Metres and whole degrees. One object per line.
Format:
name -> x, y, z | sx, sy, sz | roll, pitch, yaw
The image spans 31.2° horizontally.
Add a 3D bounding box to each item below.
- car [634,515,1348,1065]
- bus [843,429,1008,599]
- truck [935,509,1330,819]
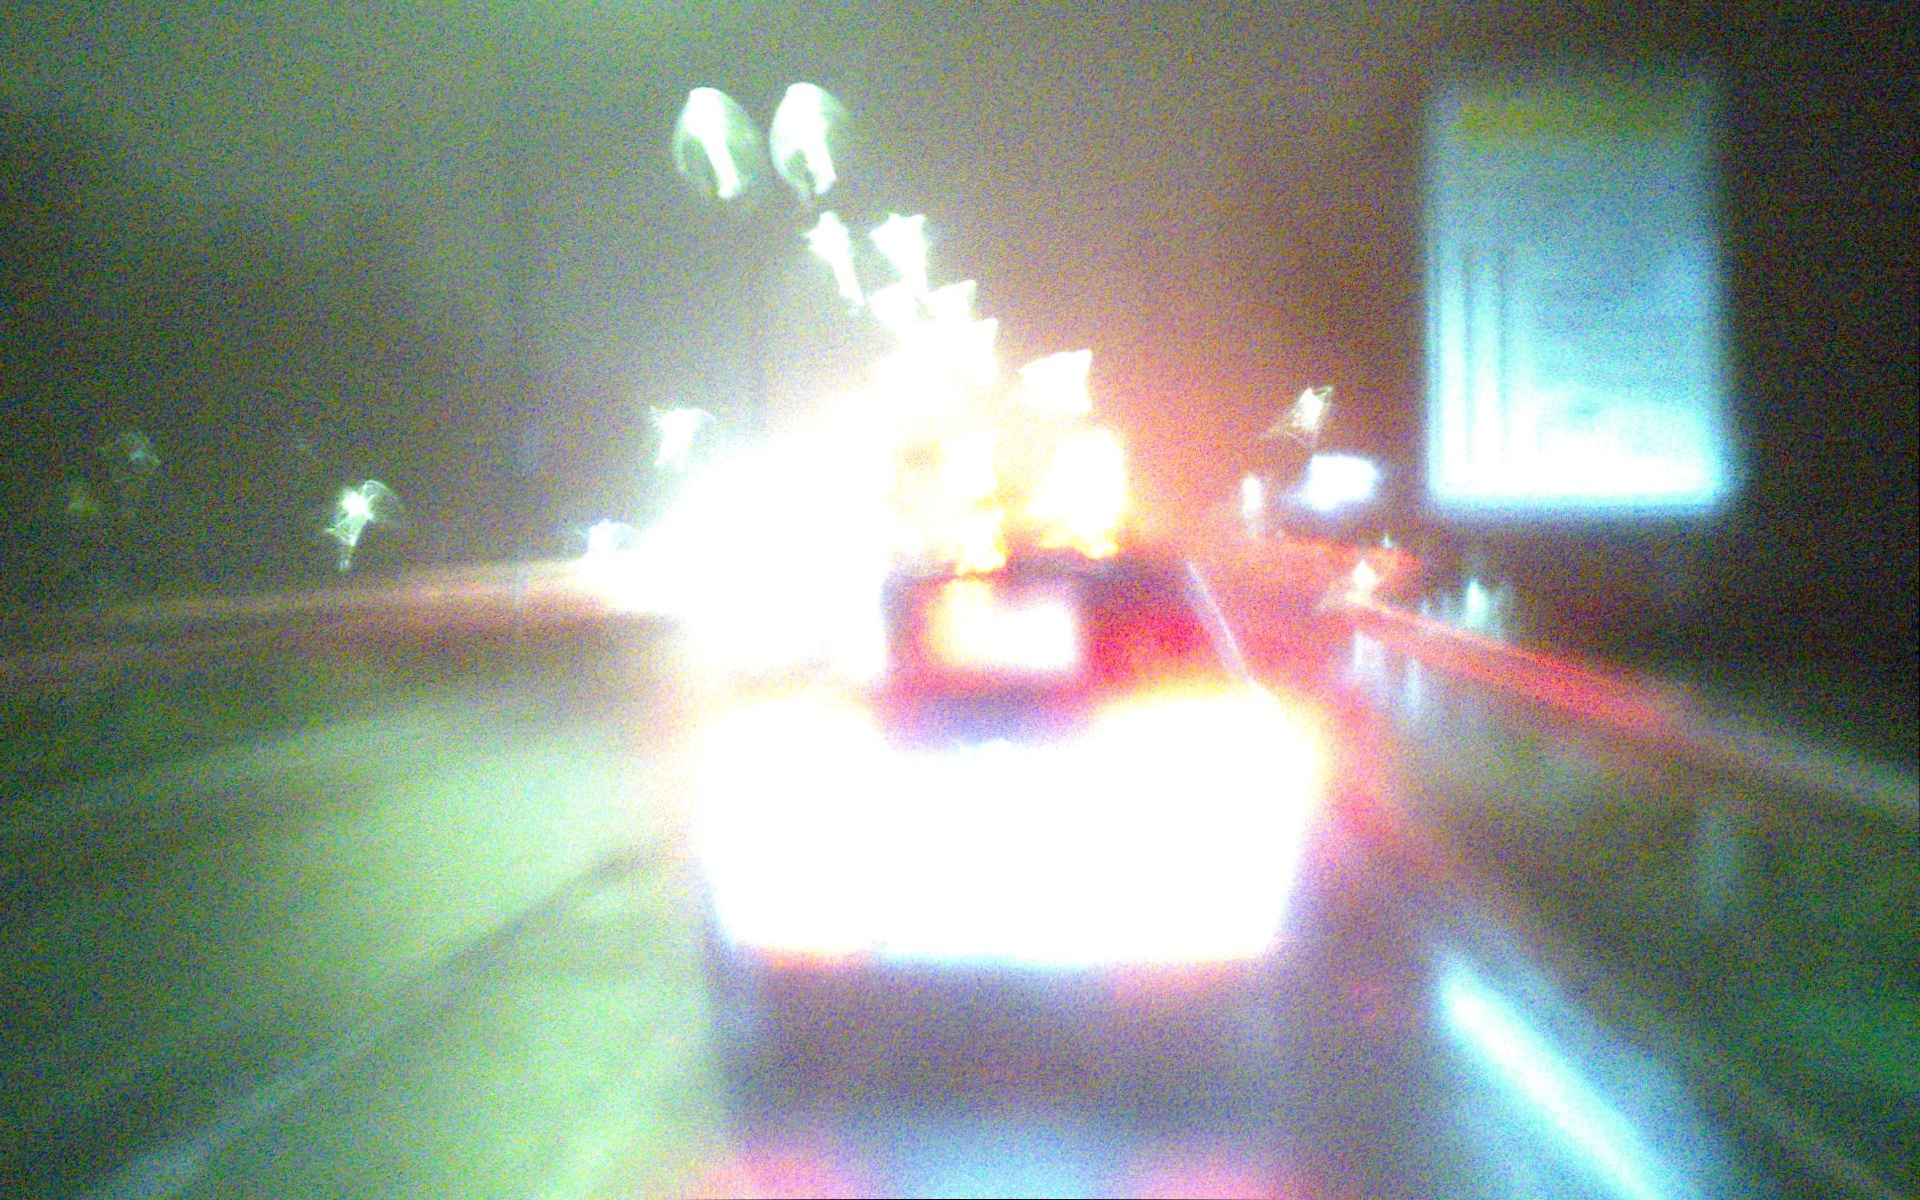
car -> 0.280, 0.490, 11.241 | 1.945, 1.486, 3.715 | 0, 1, 7
bus -> -0.578, -1.710, 68.633 | 2.744, 3.112, 9.201 | 1, 1, 2
truck -> 1.818, 0.539, 32.362 | 3.070, 2.520, 7.164 | 1, 0, 8
